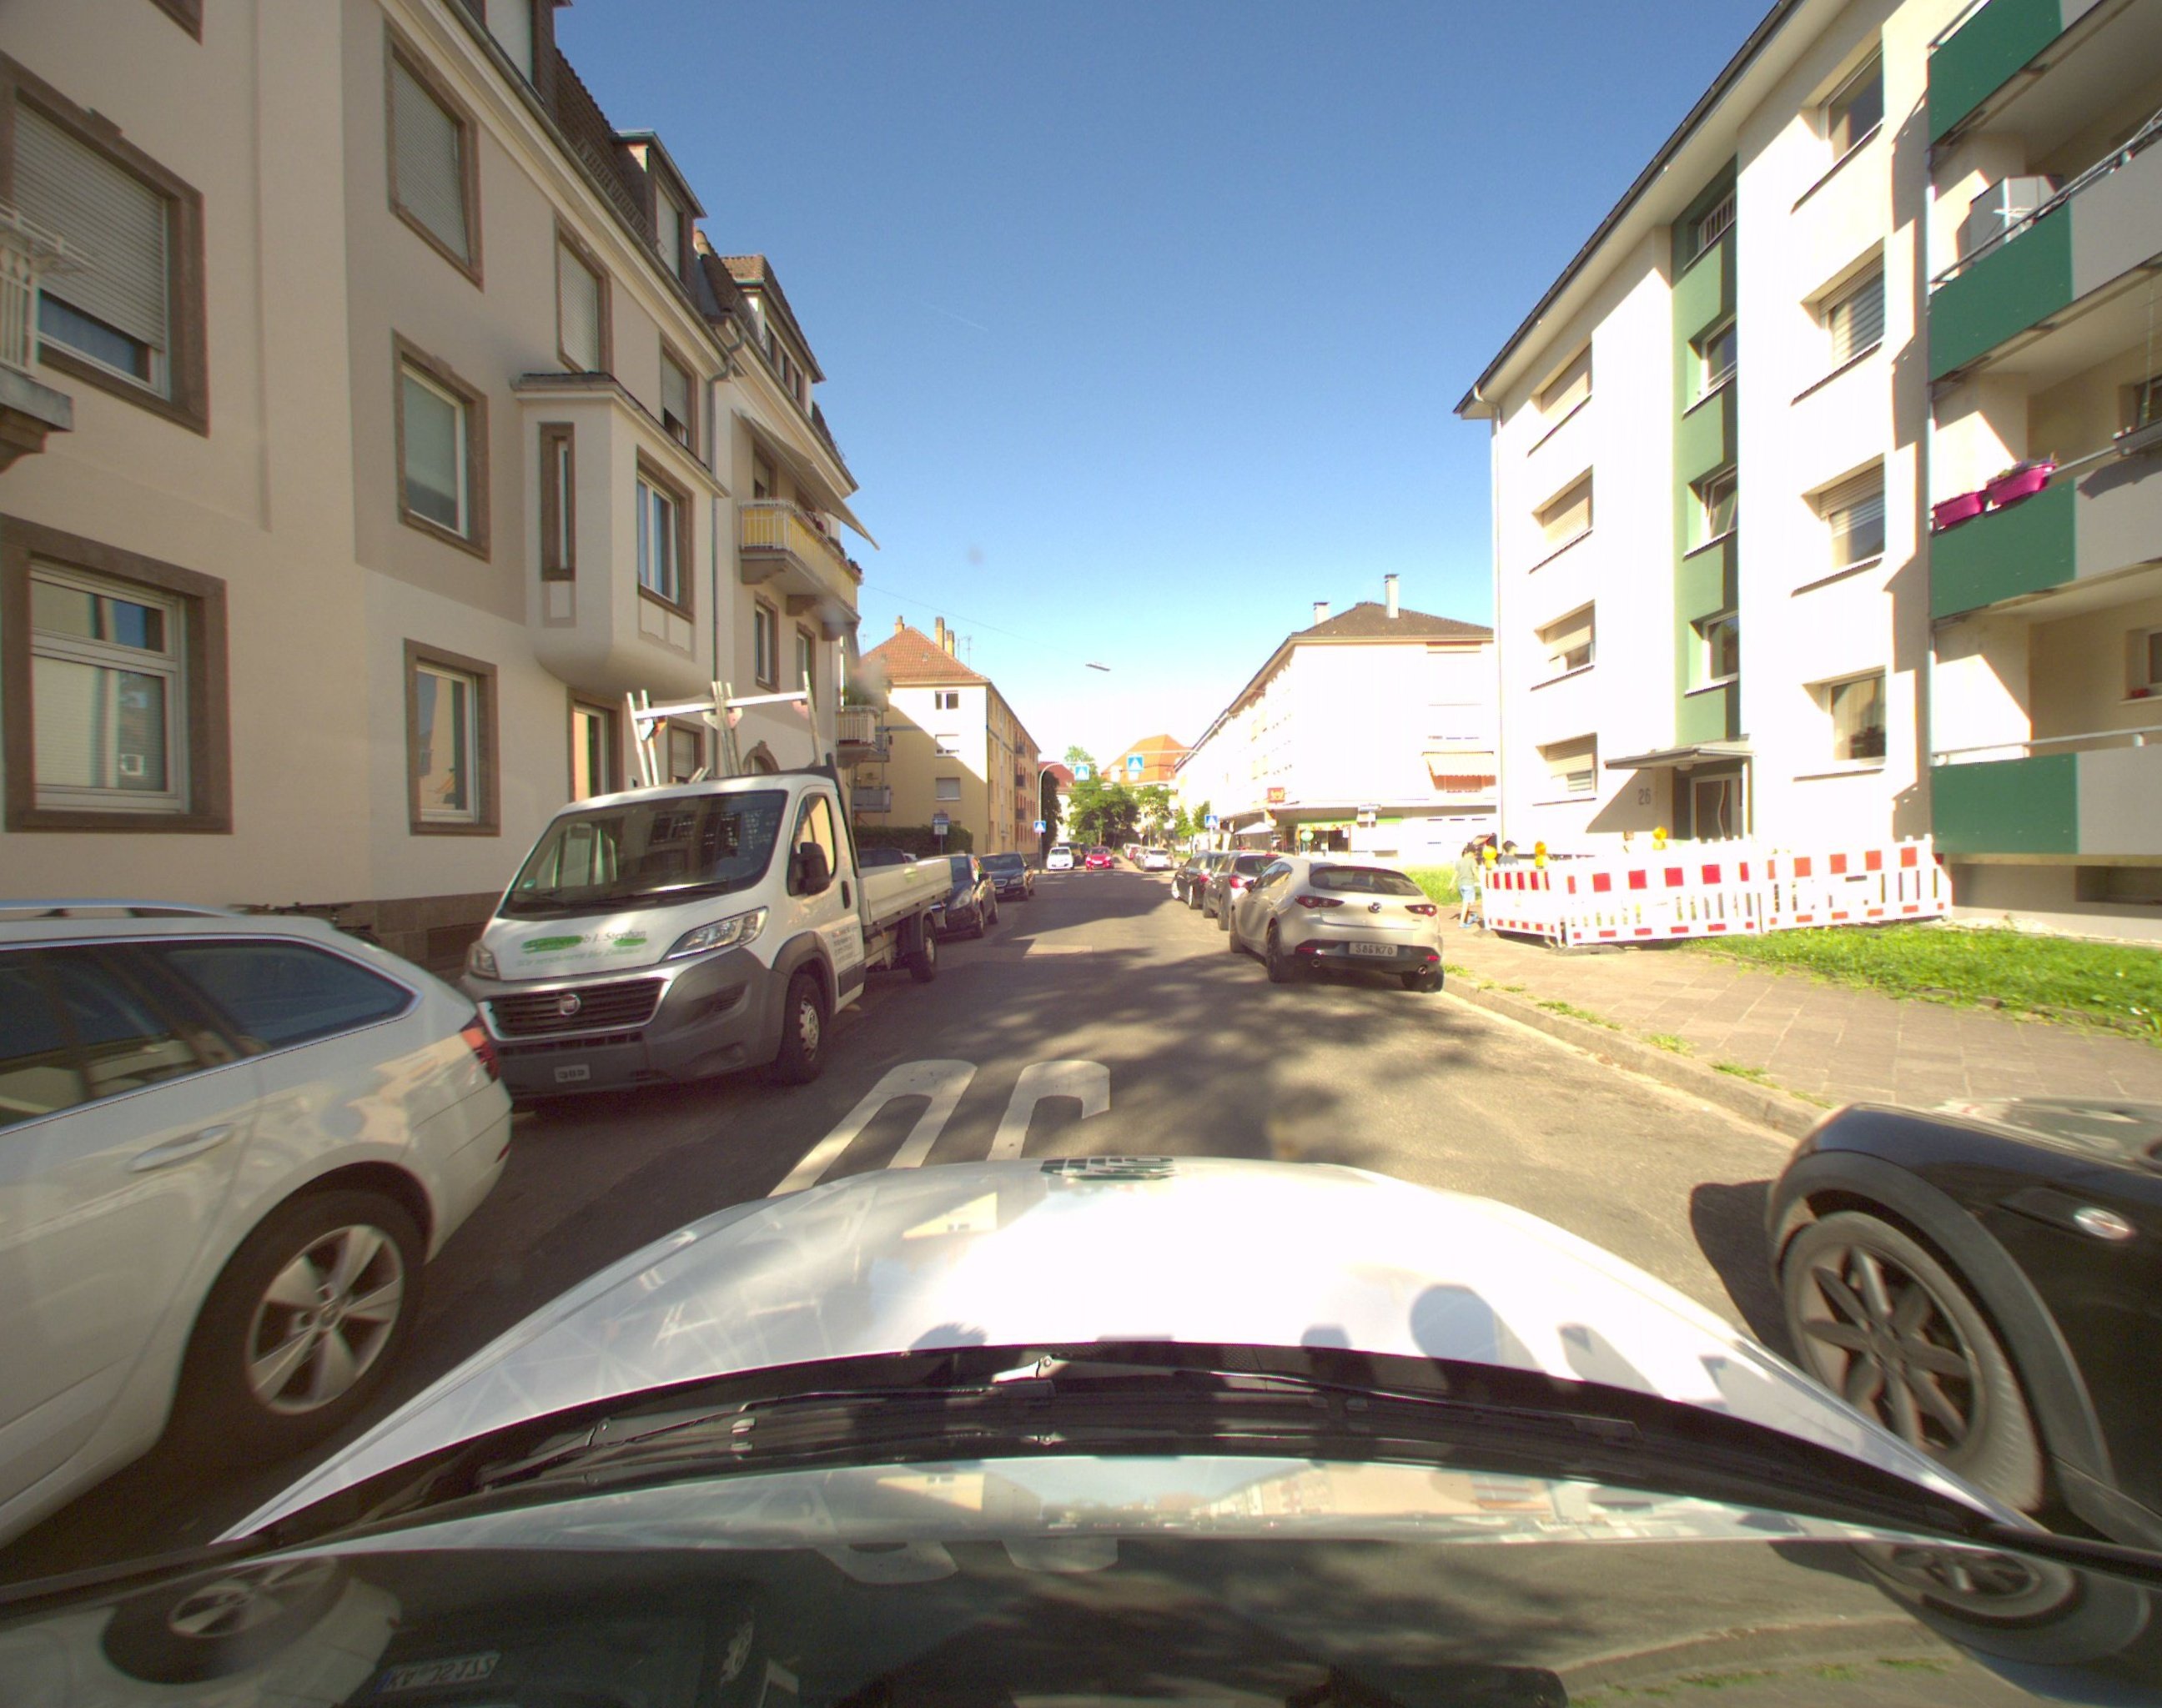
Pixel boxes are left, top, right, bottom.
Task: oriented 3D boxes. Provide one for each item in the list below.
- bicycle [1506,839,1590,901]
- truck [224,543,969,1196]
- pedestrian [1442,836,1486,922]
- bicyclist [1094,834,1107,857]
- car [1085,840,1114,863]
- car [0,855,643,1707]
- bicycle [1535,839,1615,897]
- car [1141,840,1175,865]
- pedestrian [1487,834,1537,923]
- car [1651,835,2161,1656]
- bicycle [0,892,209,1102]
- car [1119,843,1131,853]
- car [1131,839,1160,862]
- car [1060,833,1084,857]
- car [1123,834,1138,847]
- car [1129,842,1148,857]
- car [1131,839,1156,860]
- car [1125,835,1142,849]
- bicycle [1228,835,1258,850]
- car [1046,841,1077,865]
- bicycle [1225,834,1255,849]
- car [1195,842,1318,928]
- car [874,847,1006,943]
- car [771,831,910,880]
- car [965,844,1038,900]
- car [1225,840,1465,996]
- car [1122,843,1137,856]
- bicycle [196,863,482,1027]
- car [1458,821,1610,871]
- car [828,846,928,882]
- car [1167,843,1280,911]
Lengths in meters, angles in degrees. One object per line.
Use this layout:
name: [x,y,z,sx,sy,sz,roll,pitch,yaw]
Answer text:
bicycle: [9.246,0.279,16.210,0.557,1.119,1.899,-4,1,2]
truck: [-2.904,0.066,7.677,2.252,2.985,7.276,-7,0,1]
pedestrian: [6.618,0.417,14.085,0.452,1.433,0.504,-1,1,-25]
bicyclist: [1.425,-0.593,59.057,0.782,1.621,0.958,-1,0,6]
car: [1.147,-0.161,52.308,1.692,1.440,3.417,0,1,-1]
car: [-2.827,0.899,1.144,1.786,1.540,4.641,-5,1,0]
bicycle: [9.756,0.245,16.157,0.444,1.061,1.899,-4,1,2]
car: [4.636,-0.121,49.265,1.838,1.440,3.421,0,1,2]
pedestrian: [7.121,0.387,13.461,0.470,1.433,0.575,-1,1,-12]
car: [2.796,0.758,1.023,1.681,1.467,3.585,4,0,2]
bicycle: [-6.952,0.919,4.990,0.627,1.203,2.342,0,1,2]
car: [6.219,-0.845,115.113,1.632,1.440,3.420,0,1,1]
car: [4.264,-0.252,53.991,1.685,1.440,3.419,0,1,0]
car: [-0.698,-0.706,64.591,1.691,1.778,4.101,0,1,2]
car: [5.843,-1.606,95.900,1.632,1.440,3.420,0,1,1]
car: [5.651,-0.444,80.517,1.632,1.440,3.420,0,1,1]
car: [4.552,-0.347,59.853,1.632,1.440,3.419,0,1,0]
car: [5.595,-1.298,86.649,1.632,1.440,3.420,-2,1,1]
bicycle: [10.448,-0.757,52.559,1.806,0.967,0.672,0,0,-9]
car: [-1.256,-0.086,53.662,1.785,1.480,4.101,-1,1,2]
bicycle: [10.353,-0.819,53.189,1.806,0.967,0.672,0,0,-9]
car: [3.329,0.536,16.130,1.639,1.460,3.940,1,0,1]
car: [-2.428,0.650,14.971,1.640,1.416,4.080,-4,0,0]
car: [-8.305,0.039,28.336,4.474,1.615,1.769,0,0,-17]
car: [-2.286,0.487,24.414,1.698,1.416,4.373,-4,0,0]
car: [3.103,0.658,10.561,1.785,1.471,4.342,4,0,2]
car: [5.420,-0.468,91.434,1.632,1.440,3.420,0,1,1]
bicycle: [-7.008,0.769,7.916,0.567,1.279,2.342,0,1,2]
car: [15.494,-0.276,28.042,4.219,1.613,1.828,1,0,7]
car: [-8.504,0.412,34.248,3.987,1.479,1.586,0,0,-16]
car: [3.495,0.526,20.873,1.849,1.523,4.773,1,0,-2]
